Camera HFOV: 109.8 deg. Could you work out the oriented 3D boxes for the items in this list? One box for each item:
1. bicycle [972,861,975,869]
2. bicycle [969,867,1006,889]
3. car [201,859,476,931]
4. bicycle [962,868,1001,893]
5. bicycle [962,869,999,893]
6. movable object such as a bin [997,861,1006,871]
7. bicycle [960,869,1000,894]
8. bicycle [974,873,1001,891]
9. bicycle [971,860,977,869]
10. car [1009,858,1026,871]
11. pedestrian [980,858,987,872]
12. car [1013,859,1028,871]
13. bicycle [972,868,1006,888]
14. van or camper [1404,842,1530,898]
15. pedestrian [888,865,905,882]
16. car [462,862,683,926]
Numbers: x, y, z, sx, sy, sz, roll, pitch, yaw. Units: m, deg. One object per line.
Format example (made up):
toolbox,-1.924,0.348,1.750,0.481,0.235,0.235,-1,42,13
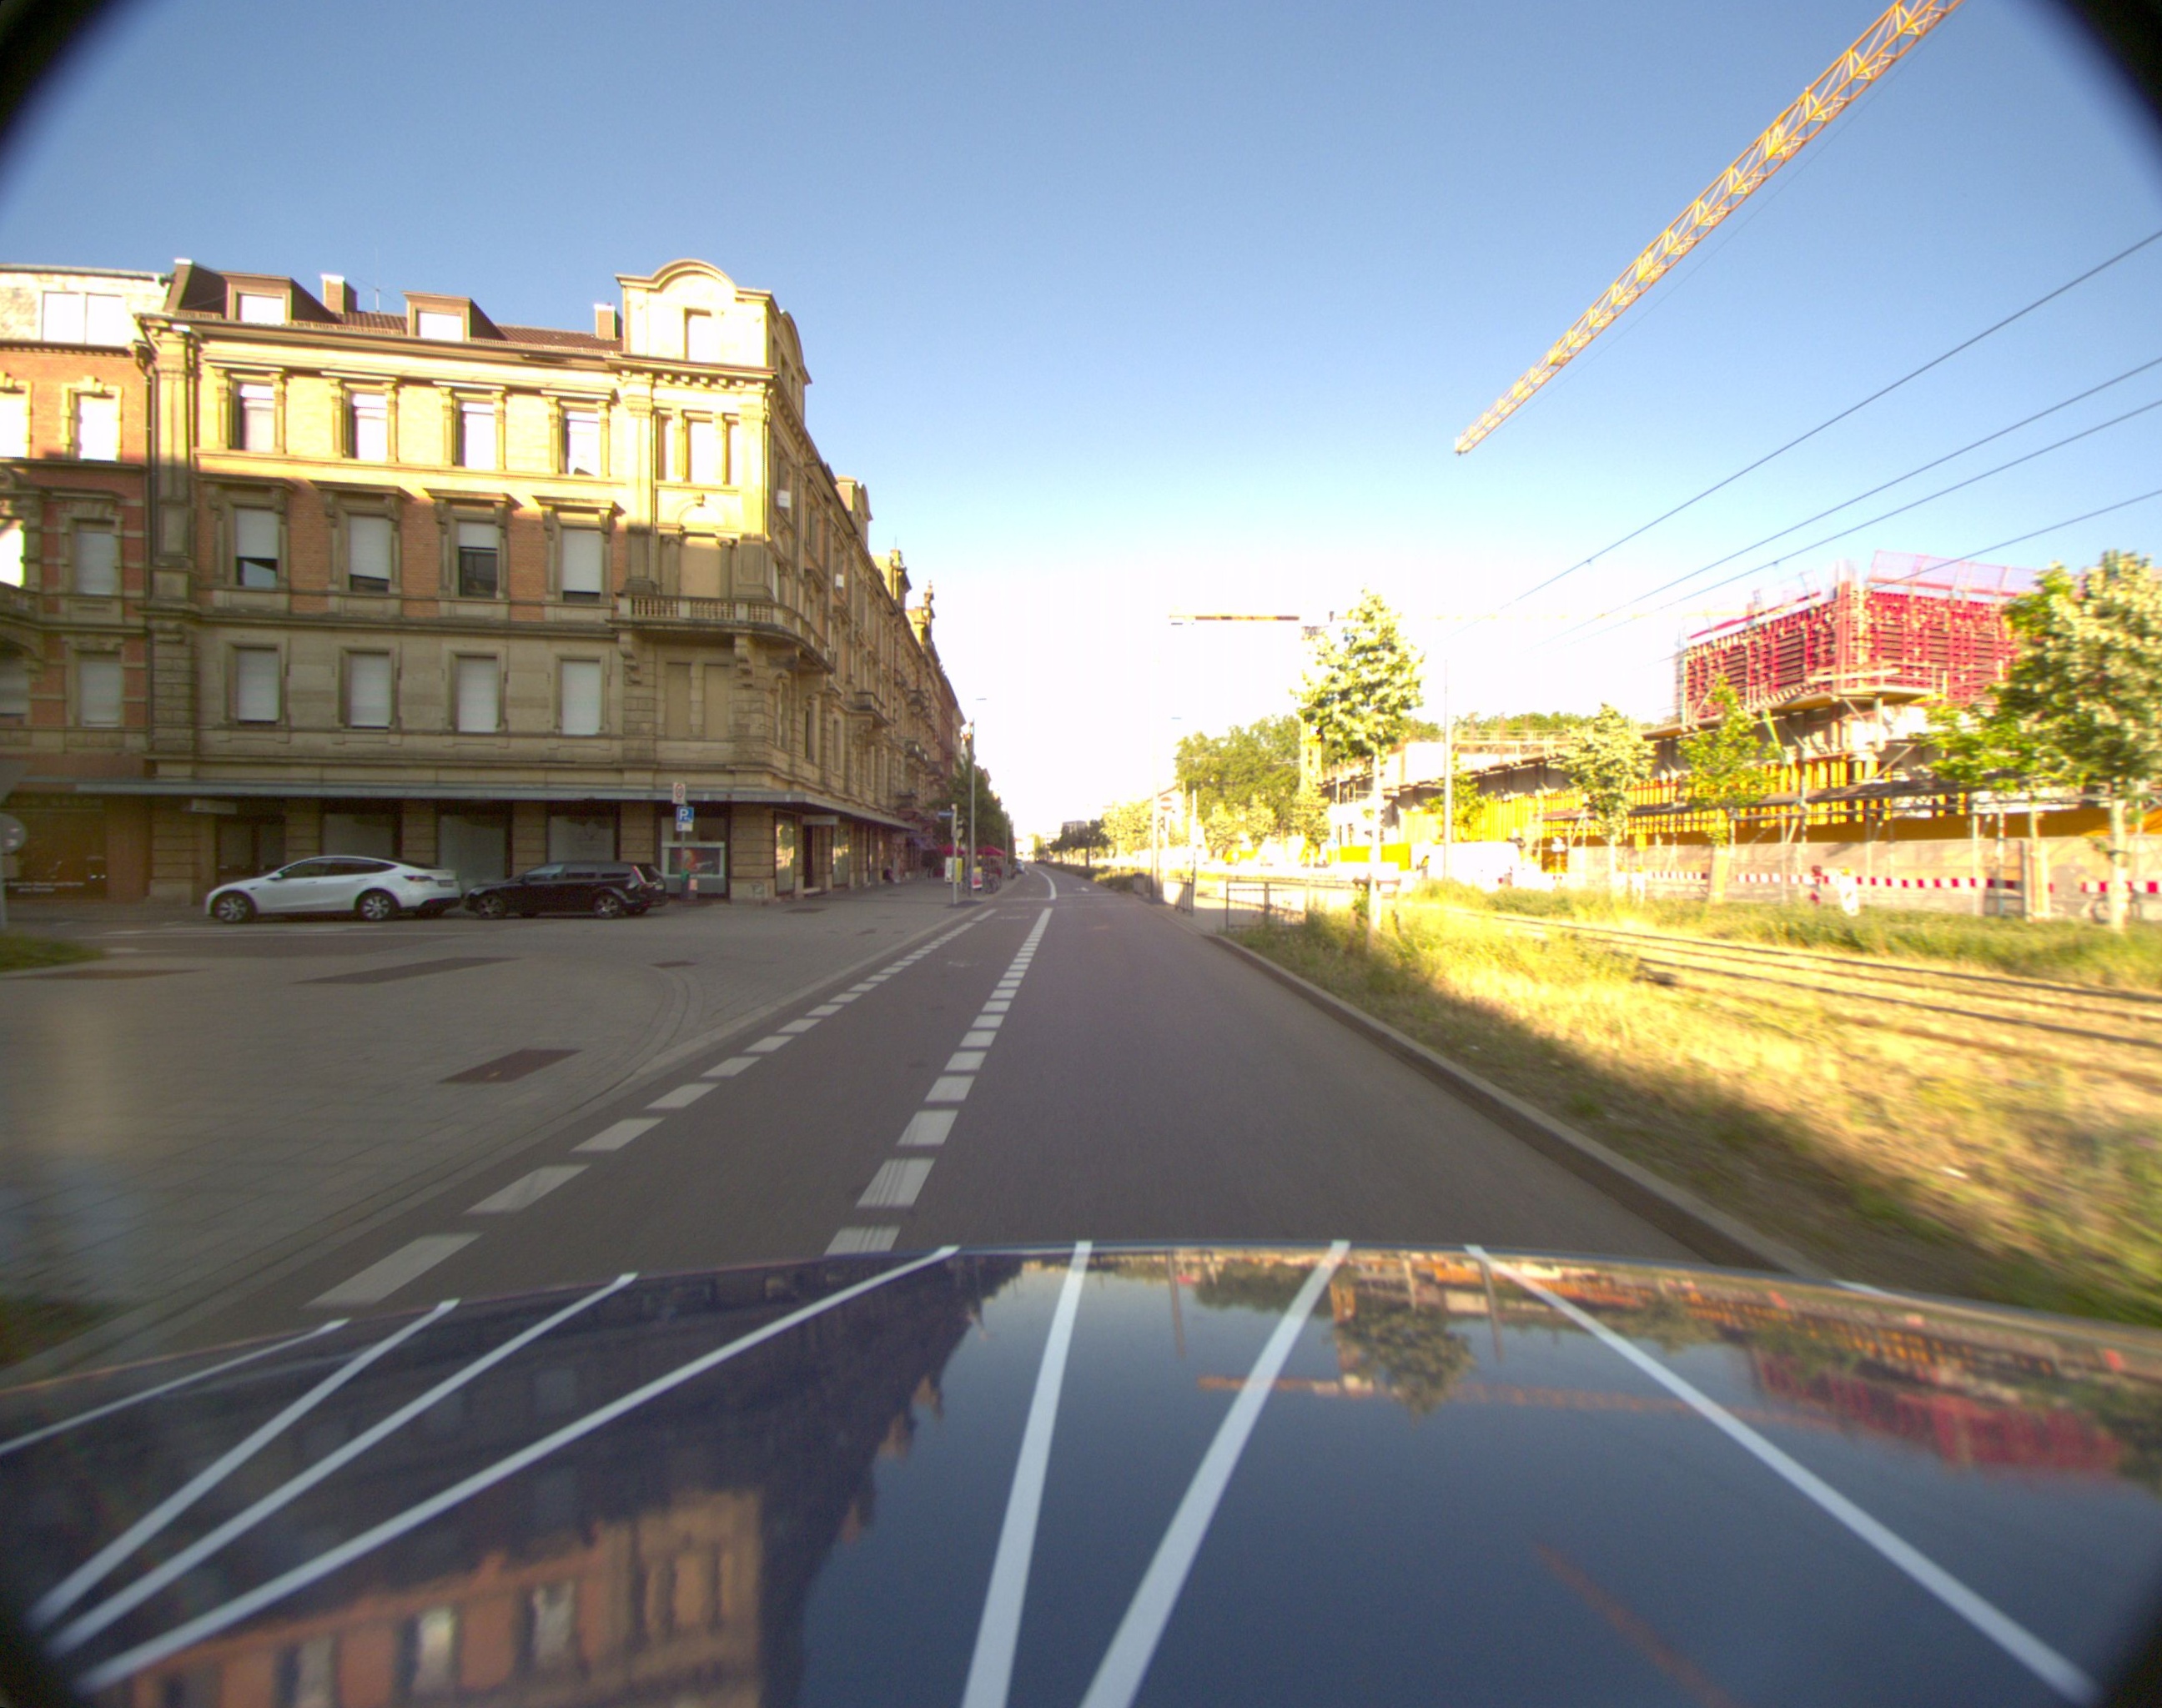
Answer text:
bicycle,-15.504,1.588,109.573,0.344,1.027,2.072,-1,0,-4
bicycle,-4.981,1.289,40.692,1.848,1.098,0.566,2,0,2
car,-17.980,0.953,18.637,4.555,1.586,1.861,0,1,-8
bicycle,-4.737,1.280,36.322,1.758,1.097,0.507,2,0,2
bicycle,-4.976,1.308,37.593,1.725,1.097,0.507,2,0,2
movable object such as a bin,-7.688,1.190,73.211,0.676,0.919,0.561,3,1,16
bicycle,-4.727,1.288,35.731,1.758,1.097,0.507,2,0,2
bicycle,-4.801,1.447,39.045,1.277,0.871,0.507,2,0,2
bicycle,-15.073,1.482,106.777,0.706,1.213,2.072,-1,0,-4
car,-7.811,1.273,93.667,1.854,1.555,4.295,2,0,-3
pedestrian,-12.837,1.421,99.910,0.749,1.744,1.071,1,0,-4
car,-8.019,1.467,100.323,1.854,1.445,5.250,2,0,-5
bicycle,-5.104,1.332,42.199,1.809,1.041,0.566,2,0,2
van or camper,19.167,0.792,38.325,2.228,2.495,7.199,2,-1,-4
pedestrian,-10.868,1.136,44.745,0.816,0.957,0.804,0,0,-2
car,-12.812,0.969,19.422,4.275,1.441,1.861,0,1,-8
